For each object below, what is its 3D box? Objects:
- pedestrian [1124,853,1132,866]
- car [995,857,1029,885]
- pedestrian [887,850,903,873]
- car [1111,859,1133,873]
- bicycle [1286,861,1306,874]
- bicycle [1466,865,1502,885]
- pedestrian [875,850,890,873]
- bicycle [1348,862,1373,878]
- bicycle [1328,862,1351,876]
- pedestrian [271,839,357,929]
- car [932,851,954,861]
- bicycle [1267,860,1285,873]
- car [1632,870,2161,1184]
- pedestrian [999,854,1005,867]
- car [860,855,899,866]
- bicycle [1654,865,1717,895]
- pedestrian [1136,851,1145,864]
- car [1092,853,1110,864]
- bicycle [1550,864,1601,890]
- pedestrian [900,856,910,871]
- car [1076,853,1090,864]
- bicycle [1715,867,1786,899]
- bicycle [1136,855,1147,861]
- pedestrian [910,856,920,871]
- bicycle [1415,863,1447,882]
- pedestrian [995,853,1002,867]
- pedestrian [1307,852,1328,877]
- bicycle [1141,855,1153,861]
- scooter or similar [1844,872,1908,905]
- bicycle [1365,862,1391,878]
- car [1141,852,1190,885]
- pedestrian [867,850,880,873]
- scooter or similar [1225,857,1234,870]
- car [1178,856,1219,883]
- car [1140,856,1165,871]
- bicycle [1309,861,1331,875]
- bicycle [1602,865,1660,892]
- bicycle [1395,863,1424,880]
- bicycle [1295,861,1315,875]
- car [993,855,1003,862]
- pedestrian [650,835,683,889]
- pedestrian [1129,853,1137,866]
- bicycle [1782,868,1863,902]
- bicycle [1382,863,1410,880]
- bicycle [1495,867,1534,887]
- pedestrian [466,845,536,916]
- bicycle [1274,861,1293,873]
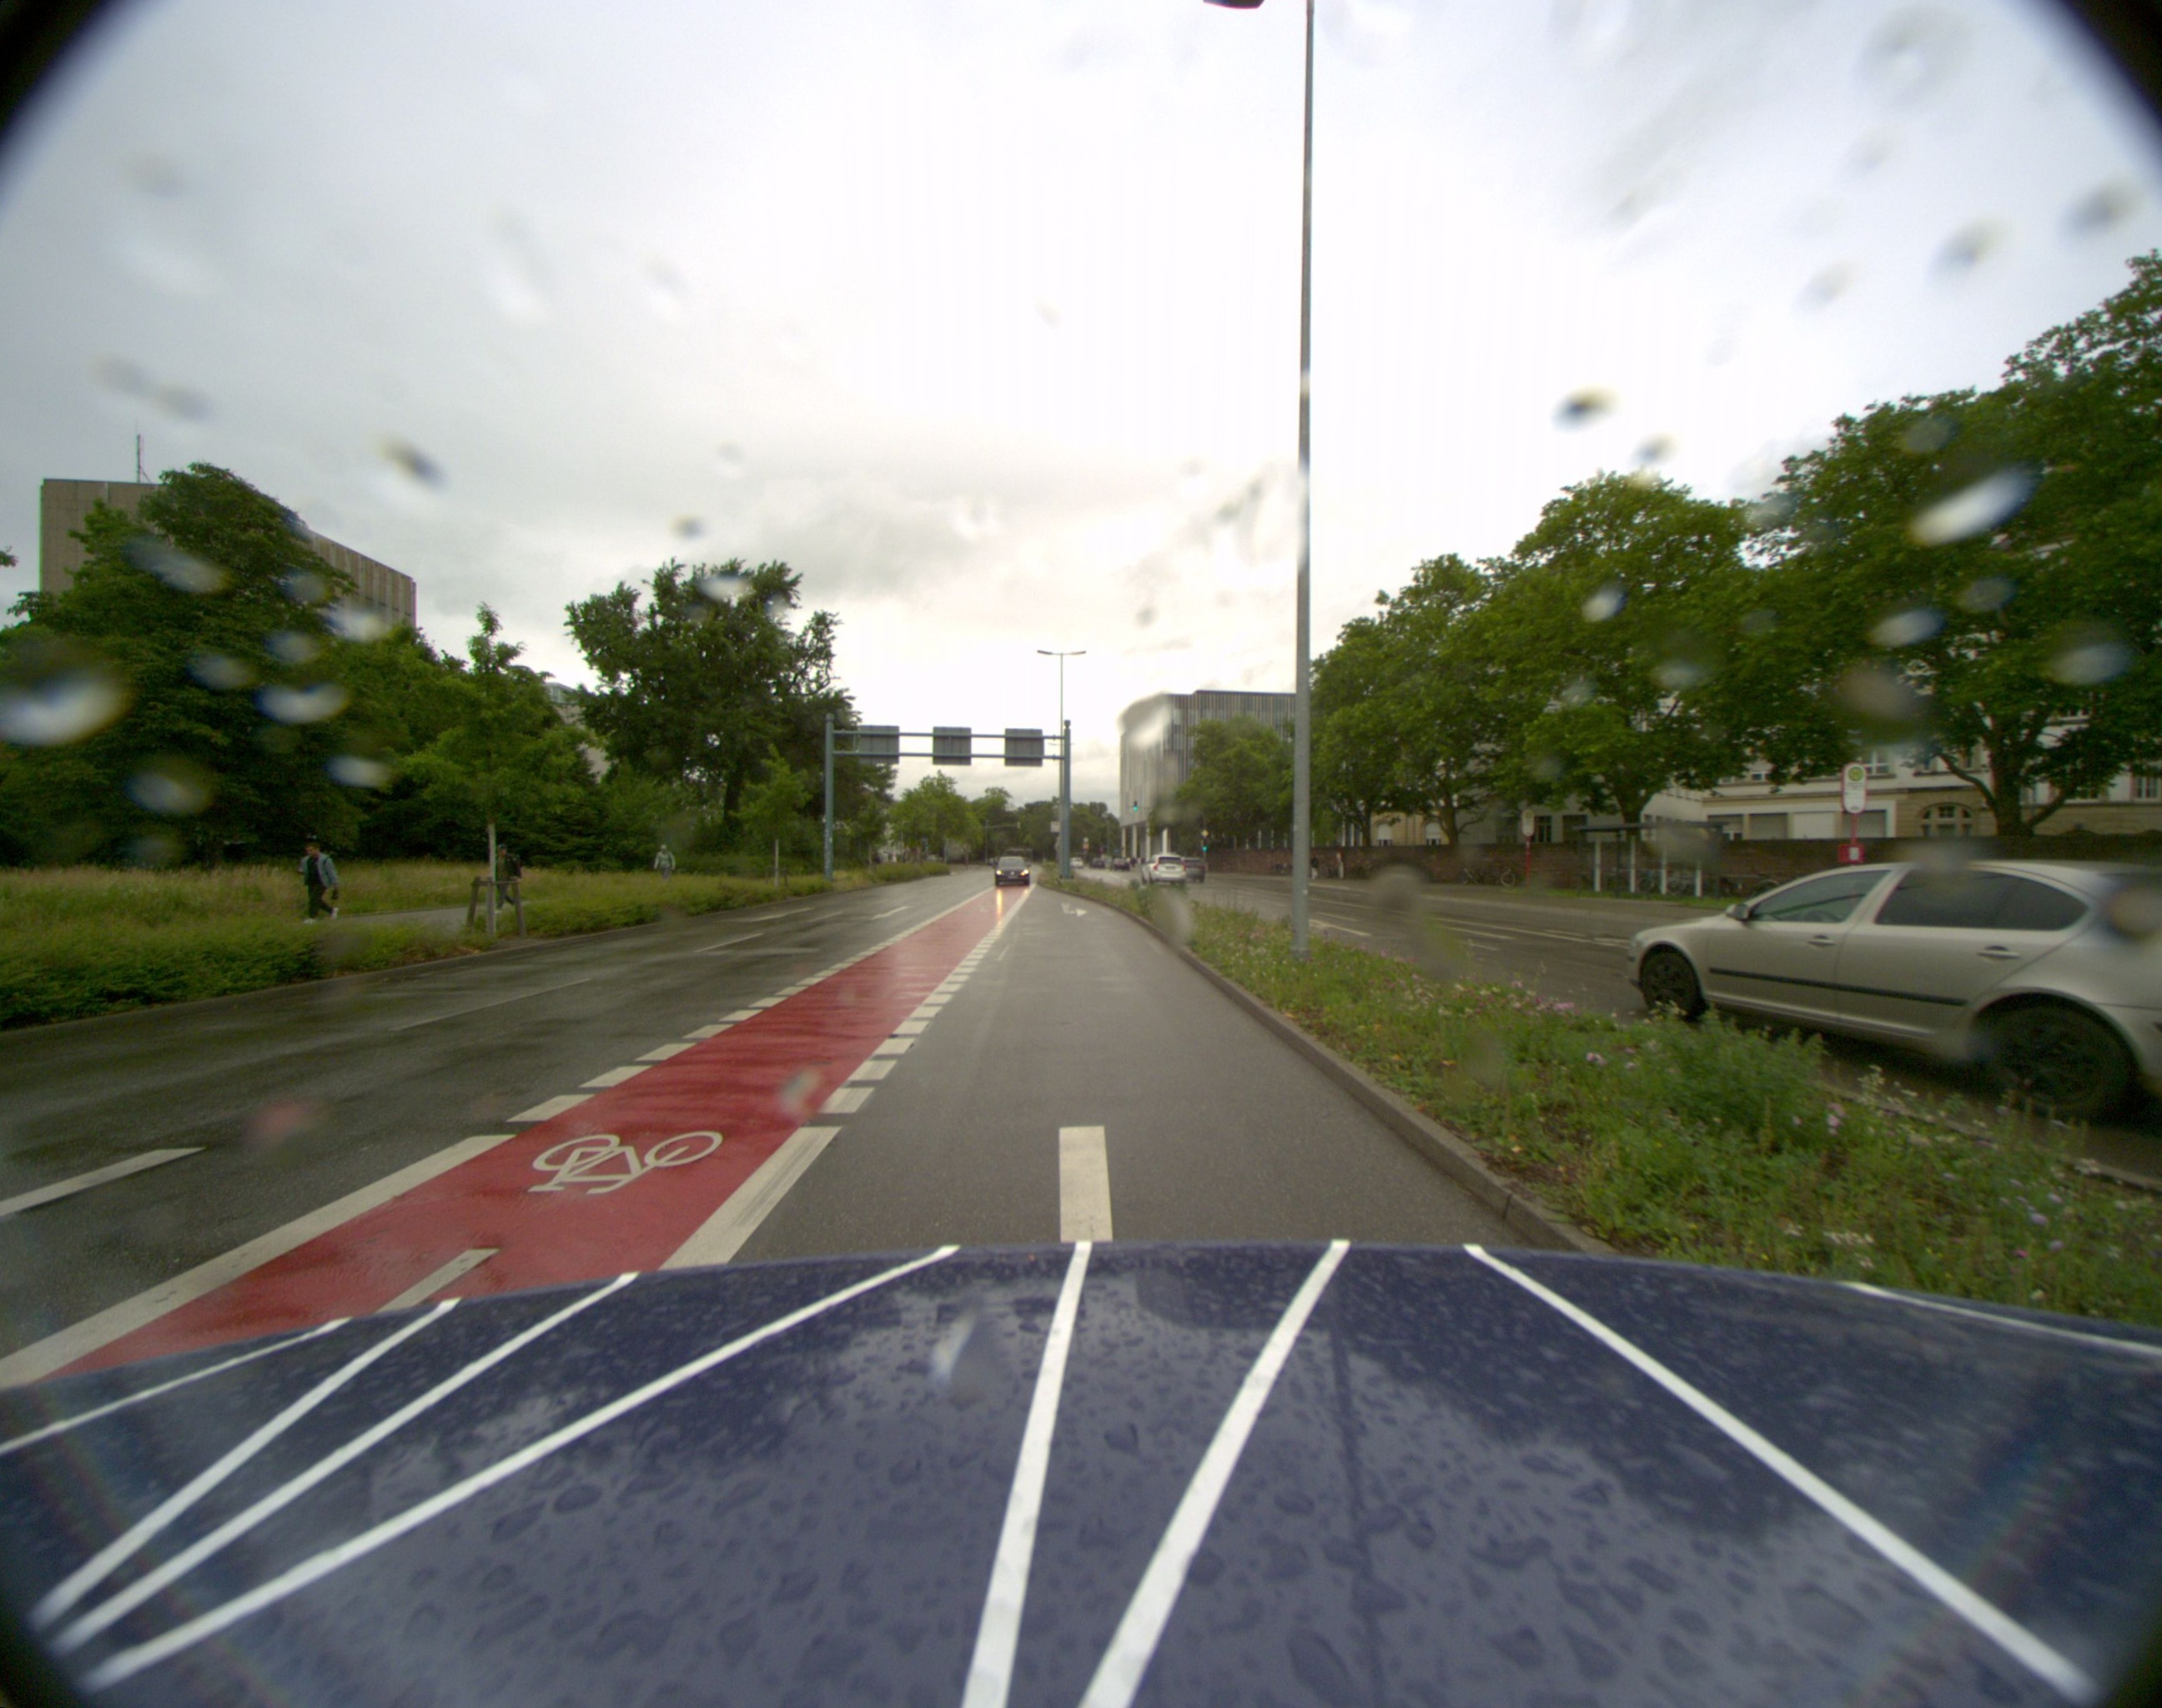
[{"bbox_3d":[6.539,0.708,104.820,0.788,1.814,0.794,0,0,-26],"label":"pedestrian"},{"bbox_3d":[-3.597,0.844,39.804,1.661,1.356,4.105,0,0,-4],"label":"car"},{"bbox_3d":[-14.070,0.550,57.442,0.935,1.710,0.829,-1,-2,2],"label":"pedestrian"},{"bbox_3d":[4.940,1.419,92.868,1.814,1.531,4.699,2,0,-7],"label":"car"},{"bbox_3d":[16.625,1.031,58.695,0.734,0.977,1.699,0,0,-14],"label":"bicycle"},{"bbox_3d":[21.214,1.087,40.030,0.734,0.977,1.699,0,0,-14],"label":"bicycle"},{"bbox_3d":[-15.029,0.555,57.513,0.935,1.693,0.829,-1,-2,2],"label":"pedestrian"},{"bbox_3d":[18.336,1.033,49.918,0.734,0.977,1.699,0,0,-14],"label":"bicycle"},{"bbox_3d":[17.884,1.033,52.645,0.734,0.977,1.699,0,0,-14],"label":"bicycle"},{"bbox_3d":[-15.707,0.605,15.586,0.935,1.786,0.829,0,0,4],"label":"pedestrian"},{"bbox_3d":[-28.390,0.429,155.989,4.428,1.862,1.636,0,0,-11],"label":"car"},{"bbox_3d":[15.967,1.031,62.366,0.734,0.977,1.699,0,0,-14],"label":"bicycle"},{"bbox_3d":[5.965,0.864,4.927,1.698,1.407,4.182,0,0,-1],"label":"car"},{"bbox_3d":[-10.910,0.868,104.931,0.787,1.814,0.624,0,0,-13],"label":"pedestrian"},{"bbox_3d":[-24.486,0.787,92.313,4.389,1.330,1.771,0,3,-6],"label":"car"},{"bbox_3d":[24.567,1.044,30.924,0.575,1.129,1.988,0,0,-19],"label":"bicycle"},{"bbox_3d":[8.525,0.504,108.176,0.941,1.814,0.921,0,0,-26],"label":"pedestrian"},{"bbox_3d":[2.764,0.658,107.399,1.629,1.407,4.062,2,0,-11],"label":"car"},{"bbox_3d":[22.778,1.036,35.037,0.575,1.129,1.987,0,0,-22],"label":"bicycle"},{"bbox_3d":[-18.454,1.008,79.474,0.878,1.598,0.862,0,0,-22],"label":"pedestrian"},{"bbox_3d":[0.244,0.578,105.675,1.684,1.493,3.866,1,0,-5],"label":"car"},{"bbox_3d":[25.302,1.088,28.772,0.575,1.129,1.988,0,0,-19],"label":"bicycle"},{"bbox_3d":[11.883,0.727,149.276,2.283,1.215,0.599,0,0,6],"label":"bicycle"},{"bbox_3d":[-17.451,1.009,79.843,0.878,1.598,0.862,0,0,-25],"label":"pedestrian"},{"bbox_3d":[19.754,1.039,42.891,0.734,0.977,1.699,0,0,-14],"label":"bicycle"},{"bbox_3d":[-11.267,0.813,103.841,0.787,1.814,0.624,0,0,-12],"label":"pedestrian"},{"bbox_3d":[16.466,0.719,52.956,0.871,1.686,1.399,0,0,-9],"label":"pedestrian"},{"bbox_3d":[12.590,0.727,145.429,2.283,1.215,0.599,0,0,6],"label":"bicycle"},{"bbox_3d":[26.758,1.135,25.585,0.574,1.040,1.360,0,0,-19],"label":"scooter or similar"},{"bbox_3d":[18.836,1.034,48.240,0.734,0.977,1.699,0,0,-14],"label":"bicycle"},{"bbox_3d":[4.696,0.771,43.014,1.831,1.672,5.163,2,0,-4],"label":"car"},{"bbox_3d":[-16.247,0.577,59.629,0.731,1.848,0.851,0,0,4],"label":"pedestrian"},{"bbox_3d":[14.070,0.924,72.011,0.392,1.191,1.141,-7,1,-9],"label":"scooter or similar"},{"bbox_3d":[7.931,1.019,51.588,1.998,1.626,4.602,2,0,0],"label":"car"},{"bbox_3d":[6.758,0.873,71.905,1.684,1.396,4.156,1,0,-4],"label":"car"},{"bbox_3d":[17.232,1.031,54.714,0.734,0.977,1.699,0,0,-14],"label":"bicycle"},{"bbox_3d":[23.728,1.041,32.818,0.575,1.129,1.987,0,0,-22],"label":"bicycle"},{"bbox_3d":[19.547,1.051,45.237,0.734,0.977,1.699,0,0,-14],"label":"bicycle"},{"bbox_3d":[16.647,1.028,56.513,0.733,0.977,1.863,0,0,-9],"label":"bicycle"},{"bbox_3d":[-15.657,0.855,143.136,1.661,1.259,4.105,0,0,-4],"label":"car"},{"bbox_3d":[-15.760,0.308,28.894,0.792,2.002,0.829,0,0,4],"label":"pedestrian"},{"bbox_3d":[7.293,0.713,106.709,0.788,1.814,0.794,0,0,-26],"label":"pedestrian"},{"bbox_3d":[26.247,1.075,26.940,0.575,1.129,1.988,0,0,-19],"label":"bicycle"},{"bbox_3d":[19.317,1.050,46.571,0.734,0.977,1.699,0,0,-14],"label":"bicycle"},{"bbox_3d":[21.665,1.134,37.995,0.734,0.977,1.699,0,0,-14],"label":"bicycle"},{"bbox_3d":[-14.513,0.651,19.047,0.935,1.737,1.046,0,0,4],"label":"pedestrian"},{"bbox_3d":[16.090,1.029,60.346,0.734,0.977,1.699,0,0,-14],"label":"bicycle"}]
